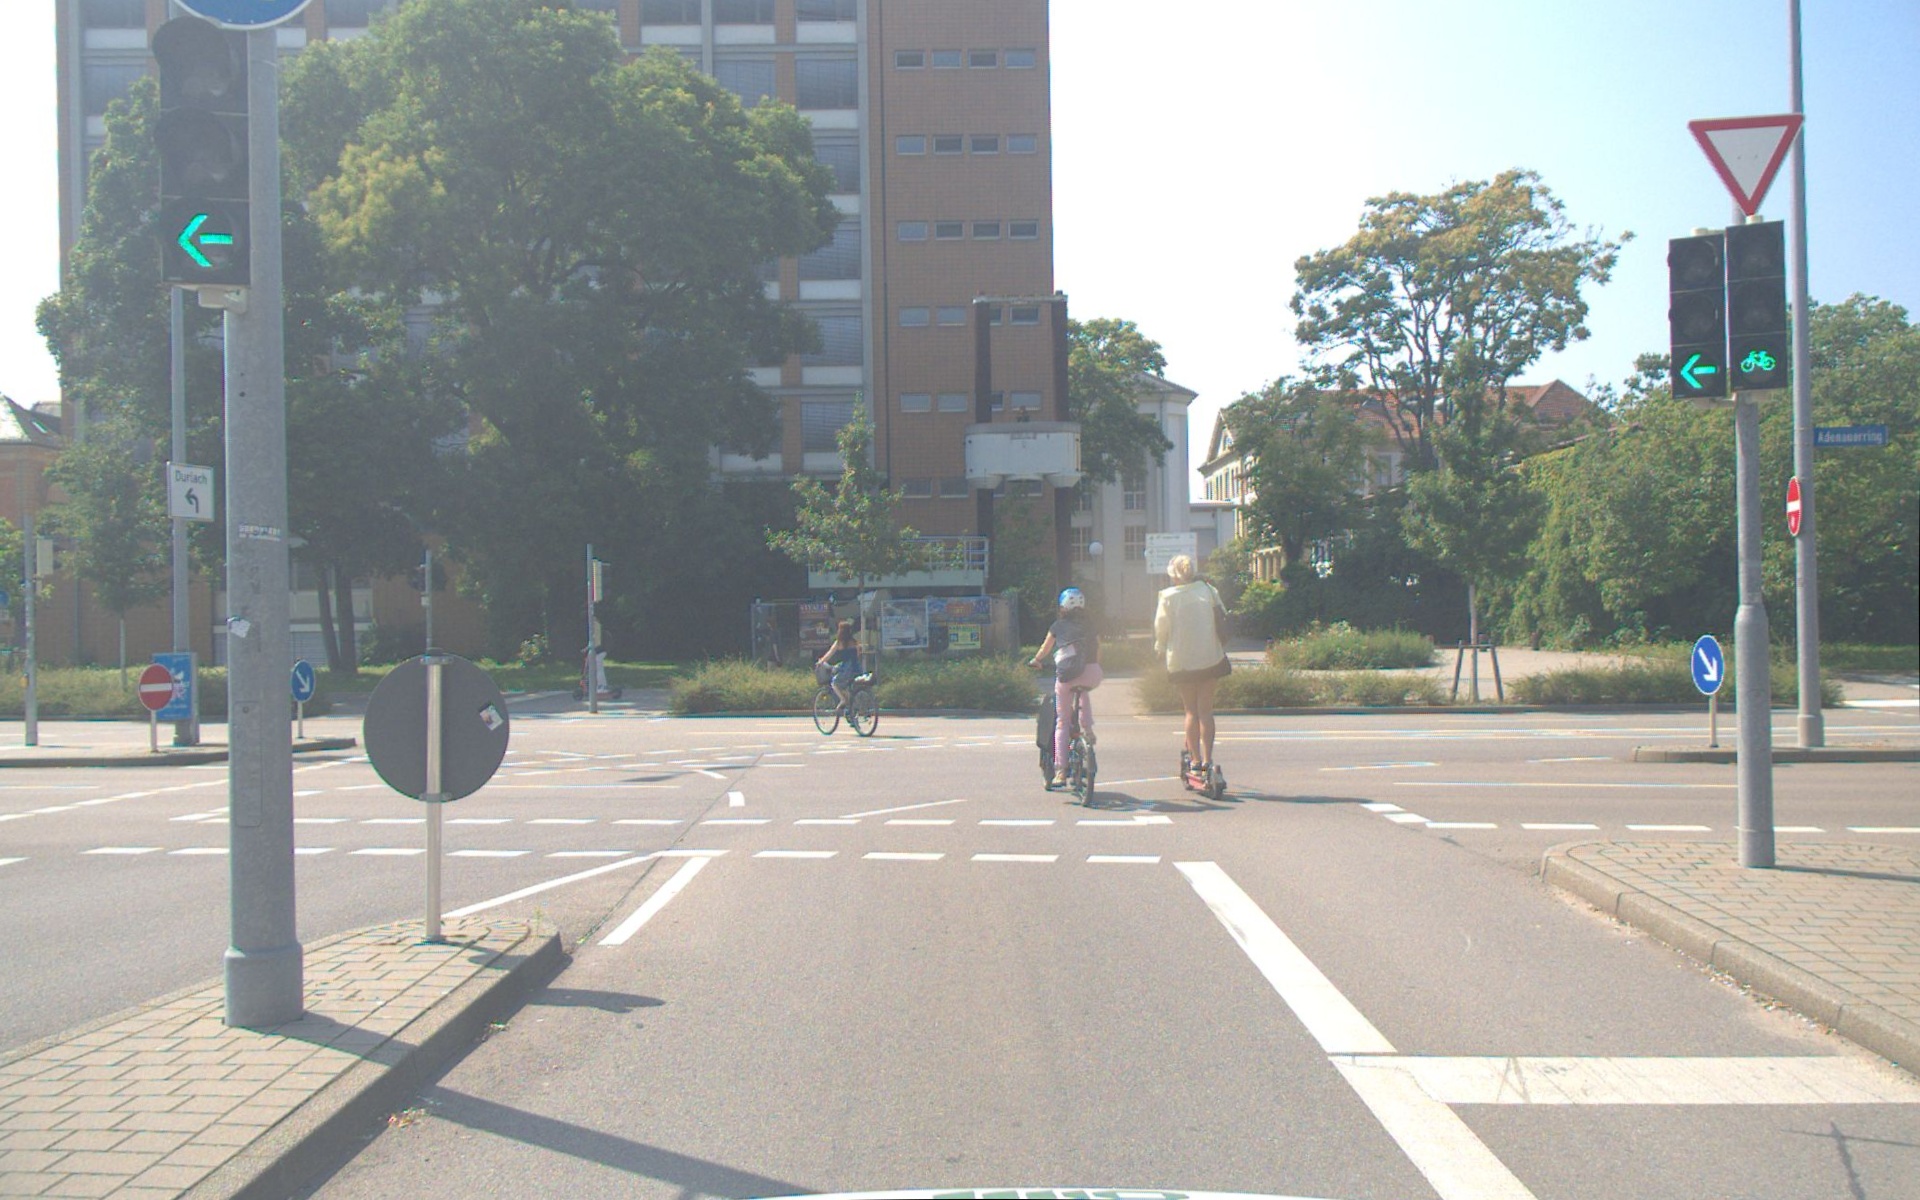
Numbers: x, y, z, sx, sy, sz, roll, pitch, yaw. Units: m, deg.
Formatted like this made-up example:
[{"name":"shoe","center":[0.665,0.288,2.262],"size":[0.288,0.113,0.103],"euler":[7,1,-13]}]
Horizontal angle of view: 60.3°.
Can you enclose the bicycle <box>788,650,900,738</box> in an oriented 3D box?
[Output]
[{"name":"bicycle","center":[-1.790,1.397,25.108],"size":[0.687,1.175,2.346],"euler":[-2,1,-30]}]

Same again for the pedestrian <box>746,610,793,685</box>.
[{"name":"pedestrian","center":[-4.519,1.131,39.284],"size":[0.858,1.734,0.708],"euler":[-2,1,17]}]

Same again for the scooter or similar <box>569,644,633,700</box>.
[{"name":"scooter or similar","center":[-8.325,1.665,38.351],"size":[1.336,1.256,0.585],"euler":[-1,-1,23]}]

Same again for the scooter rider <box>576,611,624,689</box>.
[{"name":"scooter rider","center":[-8.328,1.147,38.290],"size":[0.786,1.770,0.689],"euler":[-1,0,22]}]

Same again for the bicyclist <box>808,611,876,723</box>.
[{"name":"bicyclist","center":[-1.797,1.002,25.100],"size":[0.683,1.626,0.835],"euler":[-3,1,-31]}]

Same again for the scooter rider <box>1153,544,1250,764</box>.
[{"name":"scooter rider","center":[1.954,0.429,13.447],"size":[0.657,1.729,0.539],"euler":[-2,0,-1]}]

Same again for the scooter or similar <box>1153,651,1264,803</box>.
[{"name":"scooter or similar","center":[1.972,0.979,13.338],"size":[0.545,1.078,2.003],"euler":[-2,-1,-1]}]

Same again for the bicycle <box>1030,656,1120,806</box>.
[{"name":"bicycle","center":[0.900,1.012,13.357],"size":[0.545,1.078,2.003],"euler":[-1,-1,-1]}]

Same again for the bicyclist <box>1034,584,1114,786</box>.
[{"name":"bicyclist","center":[0.886,0.649,12.997],"size":[0.537,1.522,0.803],"euler":[-1,-1,-1]}]
